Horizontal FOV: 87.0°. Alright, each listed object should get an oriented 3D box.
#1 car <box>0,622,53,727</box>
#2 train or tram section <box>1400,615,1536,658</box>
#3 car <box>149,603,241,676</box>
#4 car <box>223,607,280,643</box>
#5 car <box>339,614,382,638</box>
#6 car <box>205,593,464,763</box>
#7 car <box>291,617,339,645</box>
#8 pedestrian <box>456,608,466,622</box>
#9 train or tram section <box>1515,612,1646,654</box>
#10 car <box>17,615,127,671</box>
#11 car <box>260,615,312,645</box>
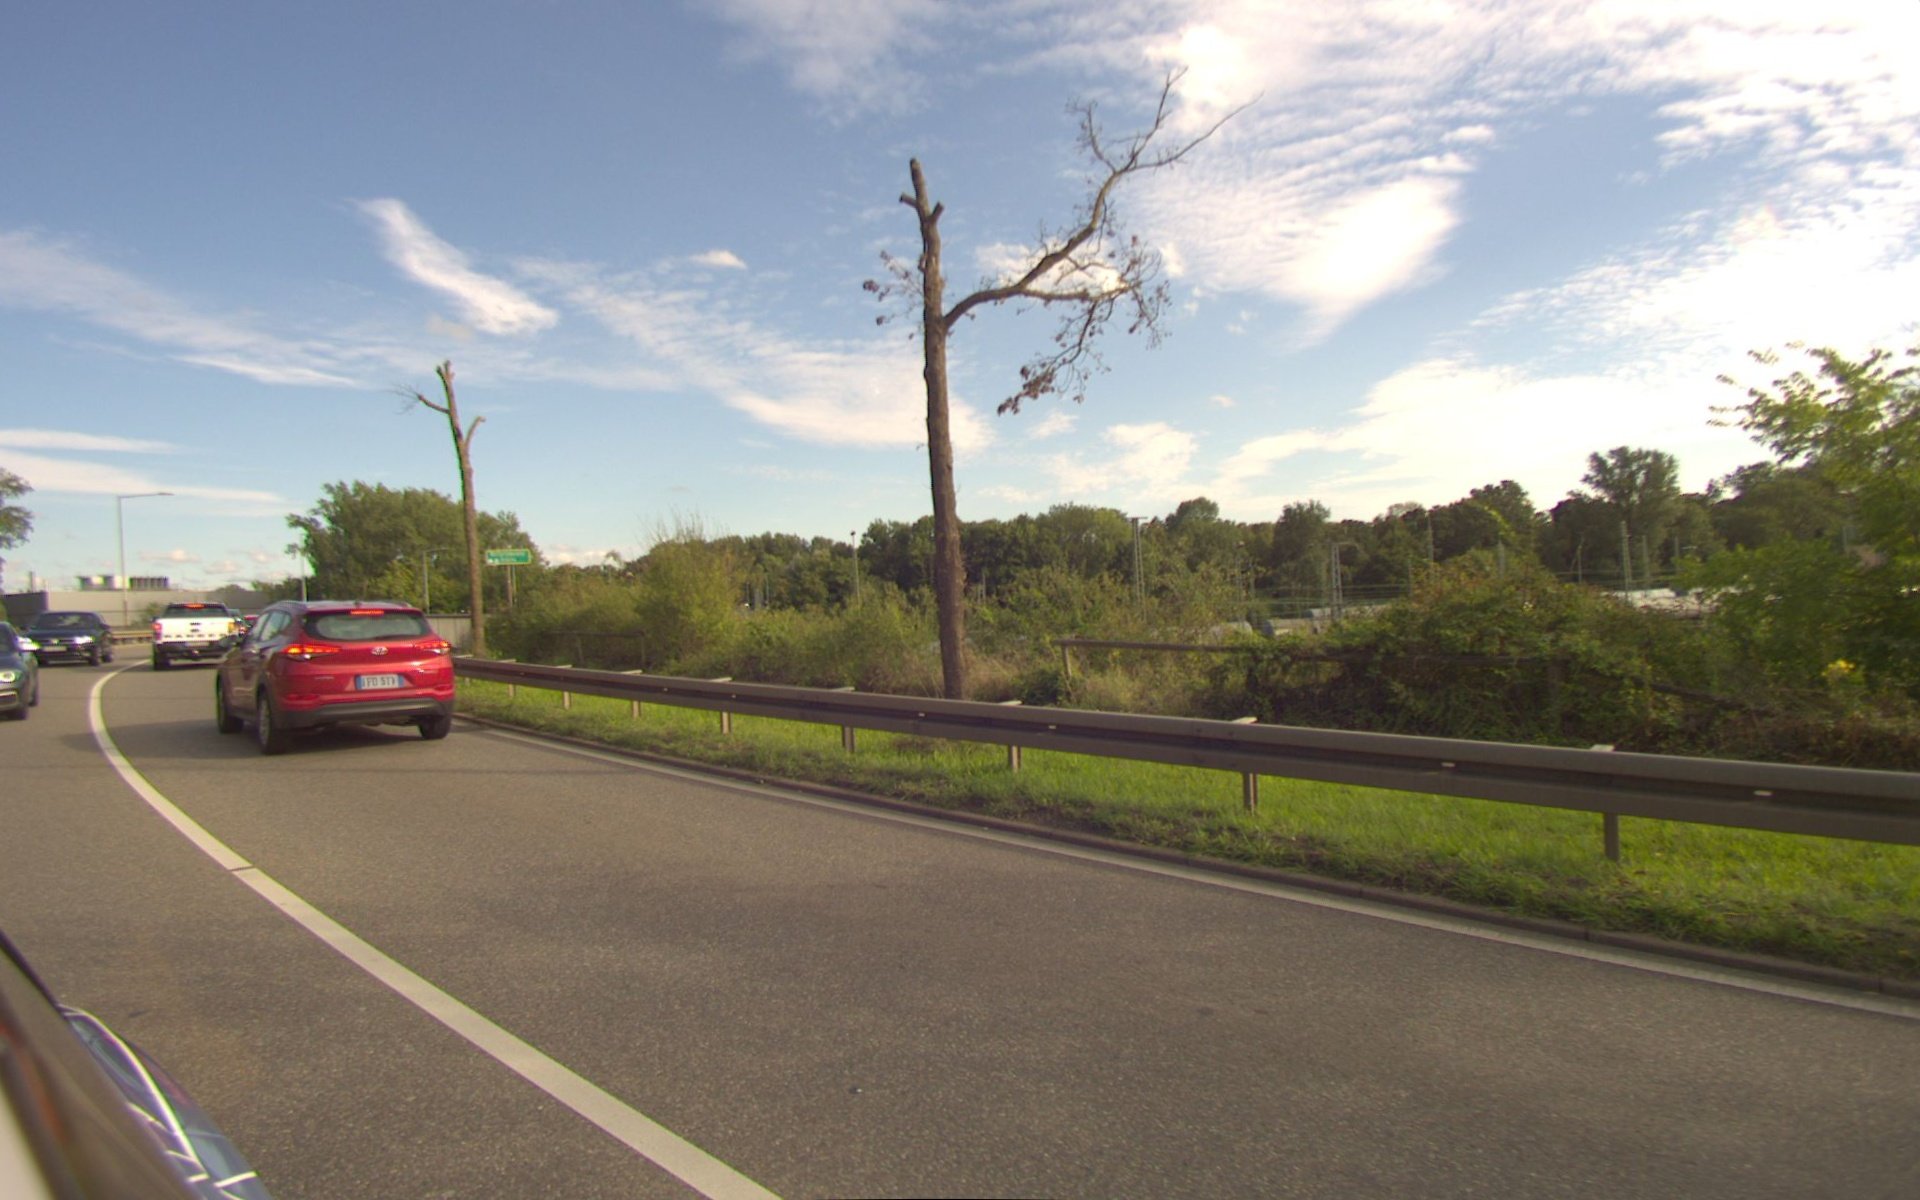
[{"bbox_3d":[-14.675,1.046,14.865,1.759,1.415,3.978,0,-1,-38],"label":"car"},{"bbox_3d":[61.373,4.329,122.177,16.469,4.748,3.105,-1,0,-14],"label":"train or tram section"},{"bbox_3d":[-21.427,1.038,28.364,1.876,1.824,5.415,-1,0,-37],"label":"car"},{"bbox_3d":[-31.110,1.091,44.526,1.576,1.475,3.748,0,-1,-28],"label":"car"},{"bbox_3d":[-43.516,1.871,73.529,1.658,1.662,4.311,-1,-1,-16],"label":"car"},{"bbox_3d":[-7.729,0.807,12.317,1.788,1.687,4.300,-1,0,-44],"label":"car"},{"bbox_3d":[-40.330,1.891,63.408,1.898,1.662,4.603,-1,-1,-24],"label":"car"},{"bbox_3d":[-58.036,1.750,117.707,0.669,1.674,0.865,-1,0,1],"label":"pedestrian"},{"bbox_3d":[77.386,4.030,126.098,16.469,4.748,3.105,-1,0,-14],"label":"train or tram section"},{"bbox_3d":[-26.685,1.240,30.553,1.789,1.518,4.404,0,-1,-32],"label":"car"},{"bbox_3d":[-37.183,1.617,55.905,1.773,1.531,4.021,-1,-1,-25],"label":"car"}]
